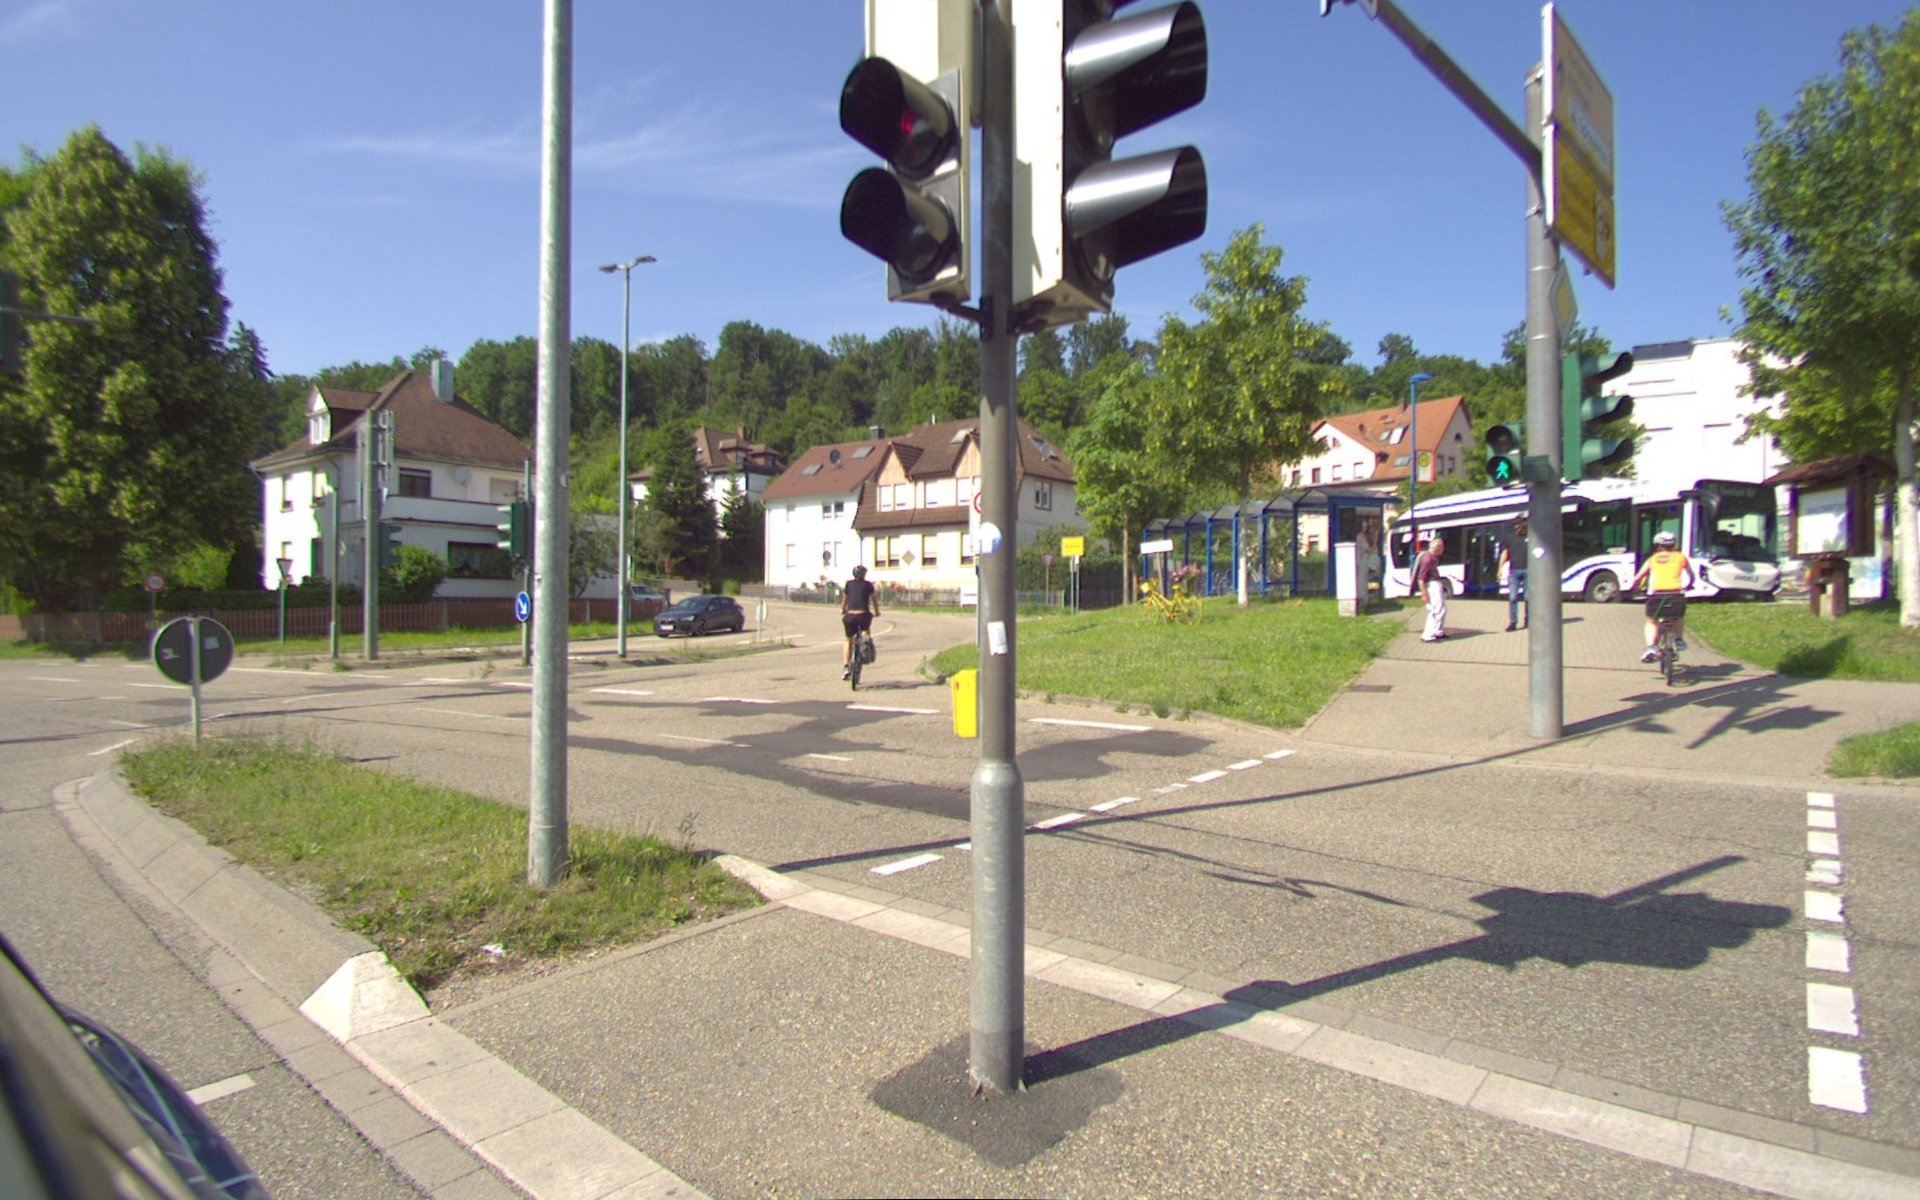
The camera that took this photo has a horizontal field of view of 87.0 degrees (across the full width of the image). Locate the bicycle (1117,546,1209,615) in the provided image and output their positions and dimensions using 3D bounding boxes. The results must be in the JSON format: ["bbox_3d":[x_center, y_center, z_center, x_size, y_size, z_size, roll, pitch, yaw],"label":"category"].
[{"bbox_3d":[4.230,-0.385,21.198,0.611,1.264,1.758,-7,1,-43],"label":"bicycle"}]

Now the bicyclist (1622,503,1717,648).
[{"bbox_3d":[8.203,-0.283,11.737,0.805,1.576,0.946,-3,1,34],"label":"bicyclist"}]

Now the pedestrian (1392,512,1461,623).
[{"bbox_3d":[7.412,-0.514,16.080,0.741,1.690,0.703,-3,0,41],"label":"pedestrian"}]

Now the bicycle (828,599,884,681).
[{"bbox_3d":[-1.624,0.593,16.051,0.724,1.171,2.001,-3,0,-3],"label":"bicycle"}]

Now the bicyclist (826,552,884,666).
[{"bbox_3d":[-1.653,0.130,16.064,0.795,1.703,0.994,-3,0,-4],"label":"bicyclist"}]

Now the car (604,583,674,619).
[{"bbox_3d":[-16.892,0.088,53.196,1.911,1.649,4.004,-4,1,-43],"label":"car"}]

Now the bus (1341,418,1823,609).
[{"bbox_3d":[14.924,-1.754,26.482,2.822,3.741,12.249,-4,1,-12],"label":"bus"}]

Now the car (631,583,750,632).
[{"bbox_3d":[-9.826,0.240,37.192,1.991,1.519,3.962,-3,1,29],"label":"car"}]

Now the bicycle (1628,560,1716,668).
[{"bbox_3d":[8.235,0.130,11.748,0.733,1.072,1.950,-3,2,34],"label":"bicycle"}]

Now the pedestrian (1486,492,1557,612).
[{"bbox_3d":[9.324,-0.796,16.803,0.856,1.922,0.731,-2,3,40],"label":"pedestrian"}]
